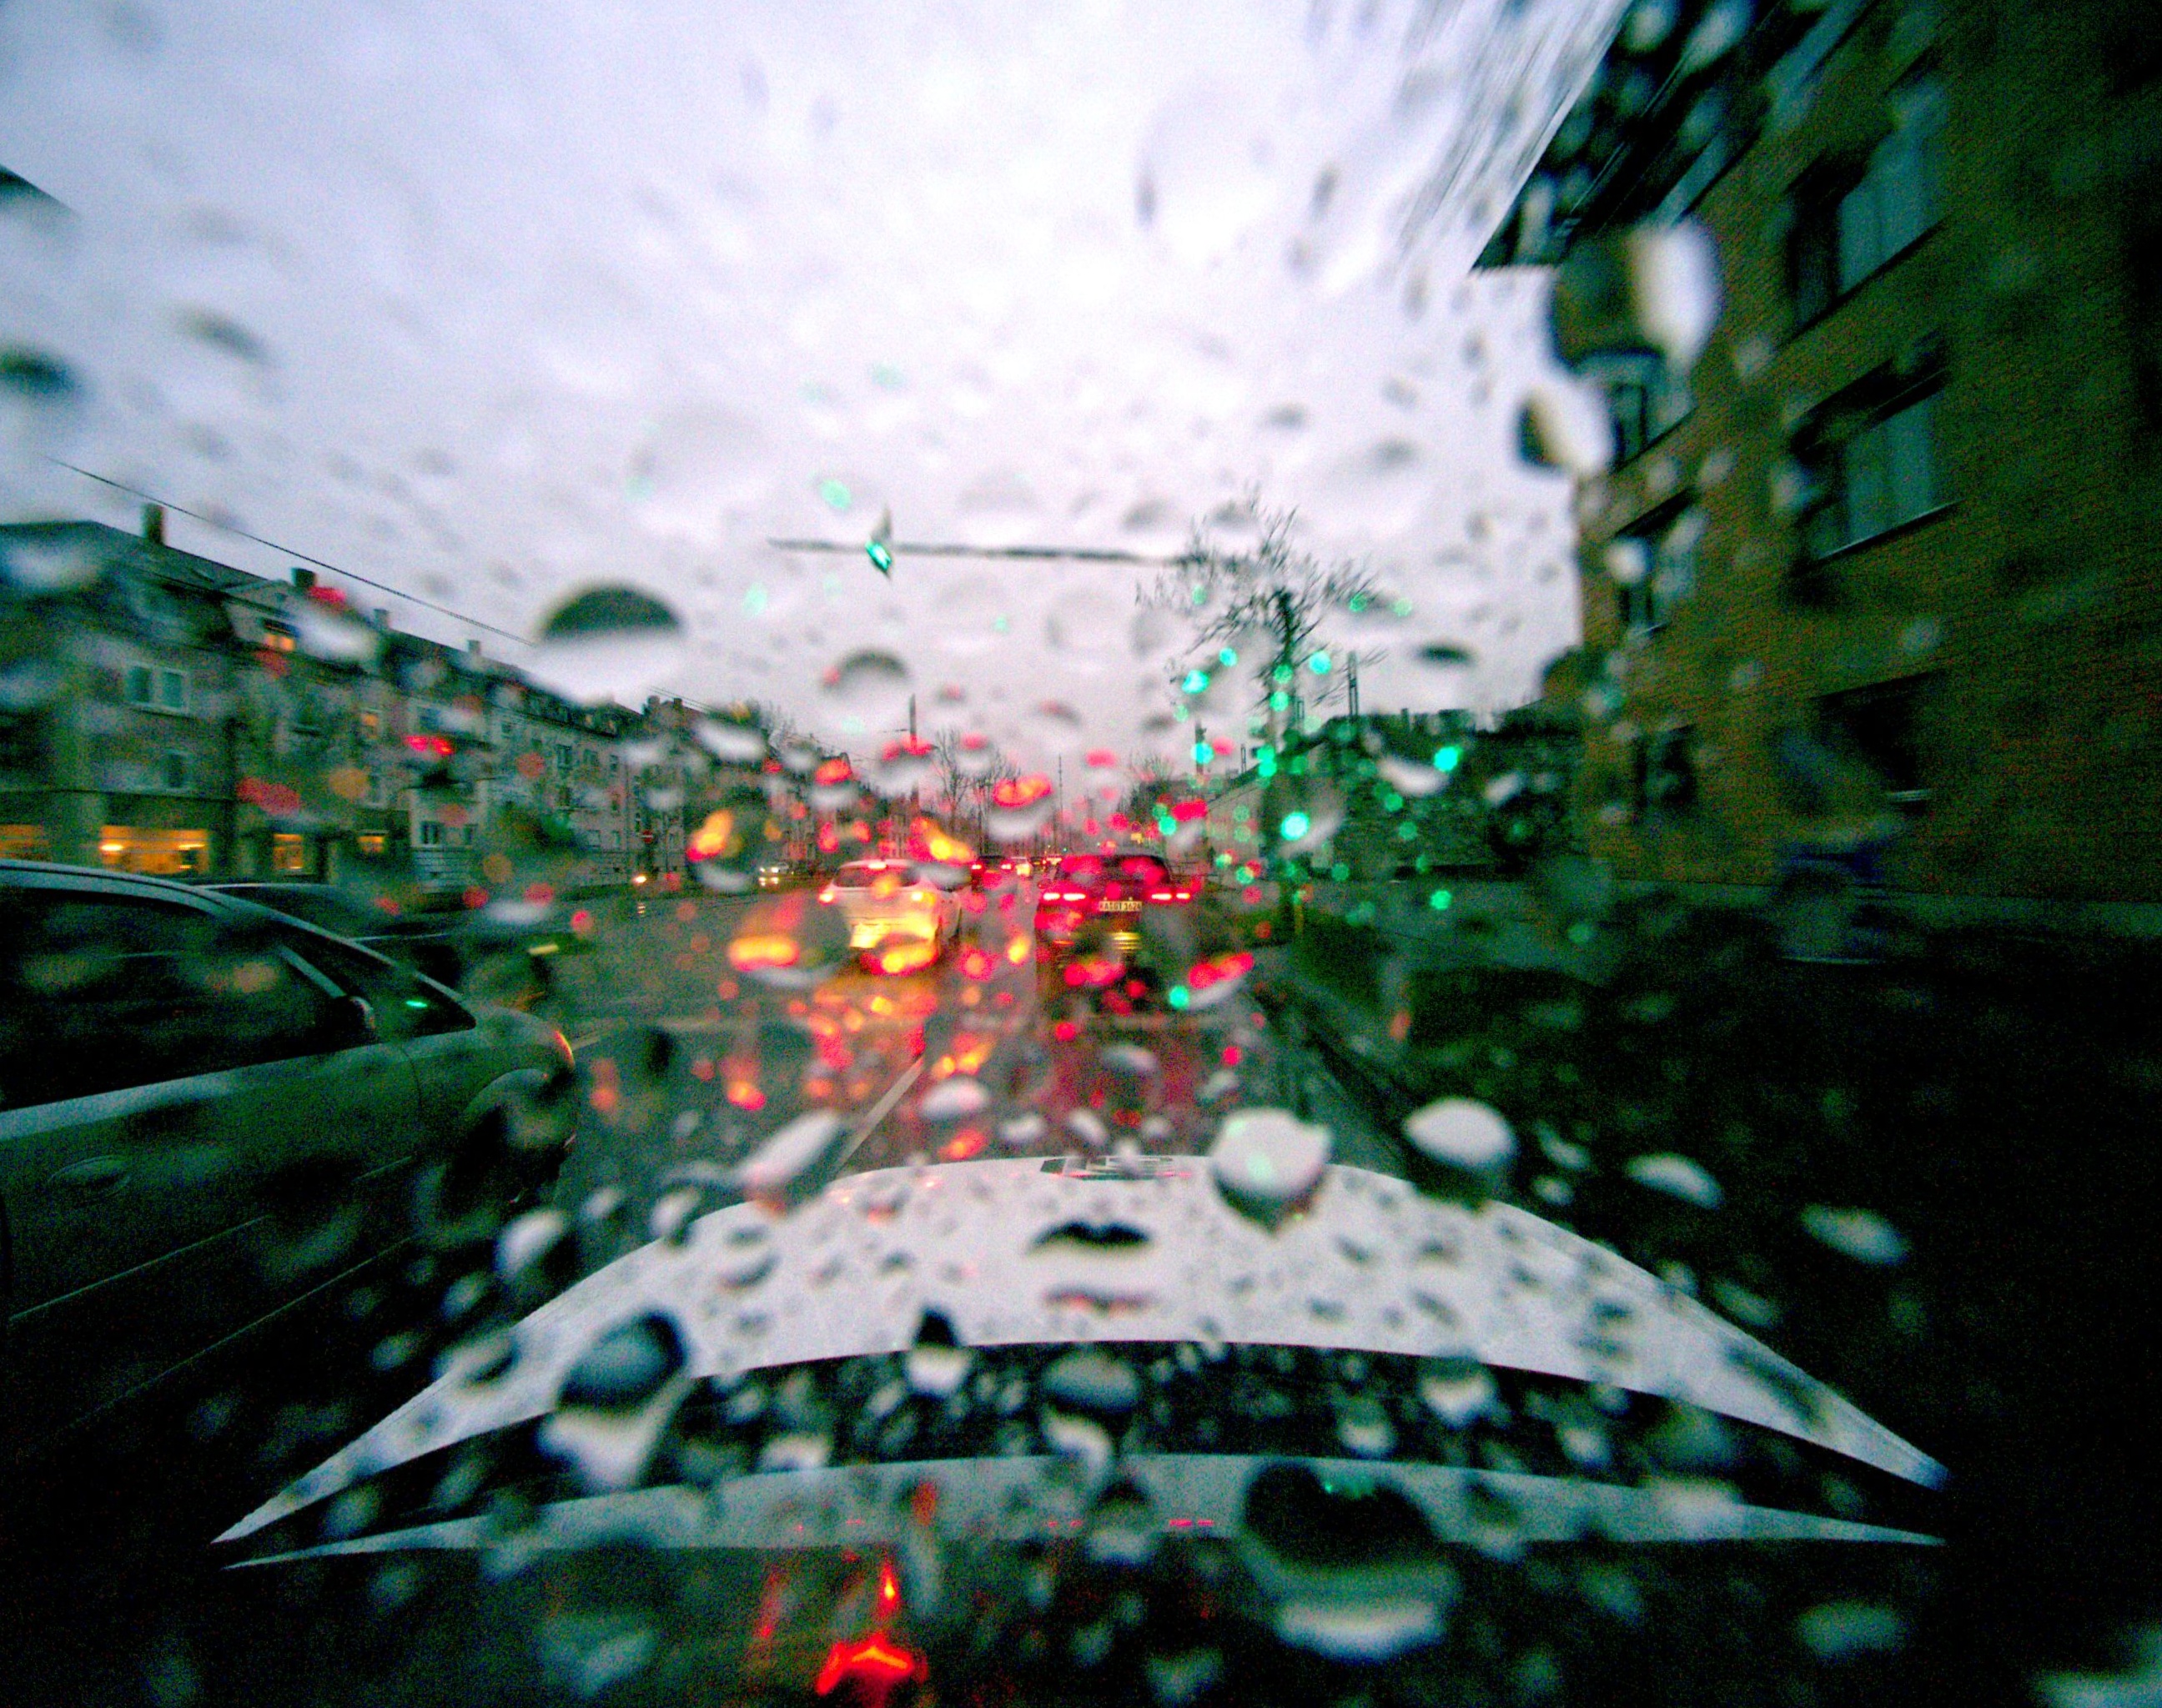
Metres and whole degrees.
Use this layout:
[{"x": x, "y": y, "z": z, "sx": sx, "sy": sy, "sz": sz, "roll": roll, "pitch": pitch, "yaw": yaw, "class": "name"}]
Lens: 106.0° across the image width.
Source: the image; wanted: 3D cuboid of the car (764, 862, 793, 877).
[{"x": -33.404, "y": 1.725, "z": 89.933, "sx": 1.769, "sy": 1.500, "sz": 3.558, "roll": -2, "pitch": 0, "yaw": 1, "class": "car"}]

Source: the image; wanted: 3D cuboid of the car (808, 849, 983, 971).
[{"x": -2.738, "y": 0.756, "z": 12.958, "sx": 1.665, "sy": 1.600, "sz": 4.056, "roll": -1, "pitch": 0, "yaw": 2, "class": "car"}]

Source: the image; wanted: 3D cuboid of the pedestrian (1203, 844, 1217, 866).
[{"x": 9.921, "y": 0.076, "z": 62.673, "sx": 0.935, "sy": 1.618, "sz": 0.694, "roll": -3, "pitch": 0, "yaw": -2, "class": "pedestrian"}]

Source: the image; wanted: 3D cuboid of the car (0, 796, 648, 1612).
[{"x": -3.029, "y": 0.703, "z": 1.873, "sx": 1.803, "sy": 1.600, "sz": 4.054, "roll": -1, "pitch": 0, "yaw": 1, "class": "car"}]

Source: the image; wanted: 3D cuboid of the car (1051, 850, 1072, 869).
[{"x": -2.169, "y": 0.618, "z": 89.549, "sx": 1.985, "sy": 2.014, "sz": 4.003, "roll": 0, "pitch": -1, "yaw": 3, "class": "car"}]

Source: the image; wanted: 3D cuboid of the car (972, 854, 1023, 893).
[{"x": -3.692, "y": 0.837, "z": 36.404, "sx": 1.665, "sy": 1.600, "sz": 4.056, "roll": -1, "pitch": 0, "yaw": 2, "class": "car"}]

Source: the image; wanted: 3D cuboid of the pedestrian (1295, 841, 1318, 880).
[{"x": 9.705, "y": 0.270, "z": 35.096, "sx": 0.619, "sy": 1.610, "sz": 1.066, "roll": -2, "pitch": 0, "yaw": -2, "class": "pedestrian"}]

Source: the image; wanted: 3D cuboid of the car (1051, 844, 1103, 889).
[{"x": -0.099, "y": 0.490, "z": 34.753, "sx": 1.986, "sy": 1.744, "sz": 4.002, "roll": -2, "pitch": 0, "yaw": 2, "class": "car"}]

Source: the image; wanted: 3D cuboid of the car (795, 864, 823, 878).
[{"x": -29.262, "y": 1.825, "z": 87.683, "sx": 1.769, "sy": 1.354, "sz": 3.558, "roll": -3, "pitch": 0, "yaw": 1, "class": "car"}]

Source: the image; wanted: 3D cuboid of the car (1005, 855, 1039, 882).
[{"x": -3.700, "y": 0.877, "z": 51.823, "sx": 1.665, "sy": 1.600, "sz": 4.056, "roll": -1, "pitch": 0, "yaw": 2, "class": "car"}]

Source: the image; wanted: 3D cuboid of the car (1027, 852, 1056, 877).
[{"x": -3.337, "y": 0.894, "z": 69.483, "sx": 1.985, "sy": 2.014, "sz": 4.003, "roll": 0, "pitch": -1, "yaw": 3, "class": "car"}]

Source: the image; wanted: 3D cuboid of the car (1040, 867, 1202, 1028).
[{"x": 0.499, "y": 1.013, "z": 10.561, "sx": 1.665, "sy": 1.600, "sz": 4.056, "roll": -1, "pitch": 0, "yaw": 2, "class": "car"}]
